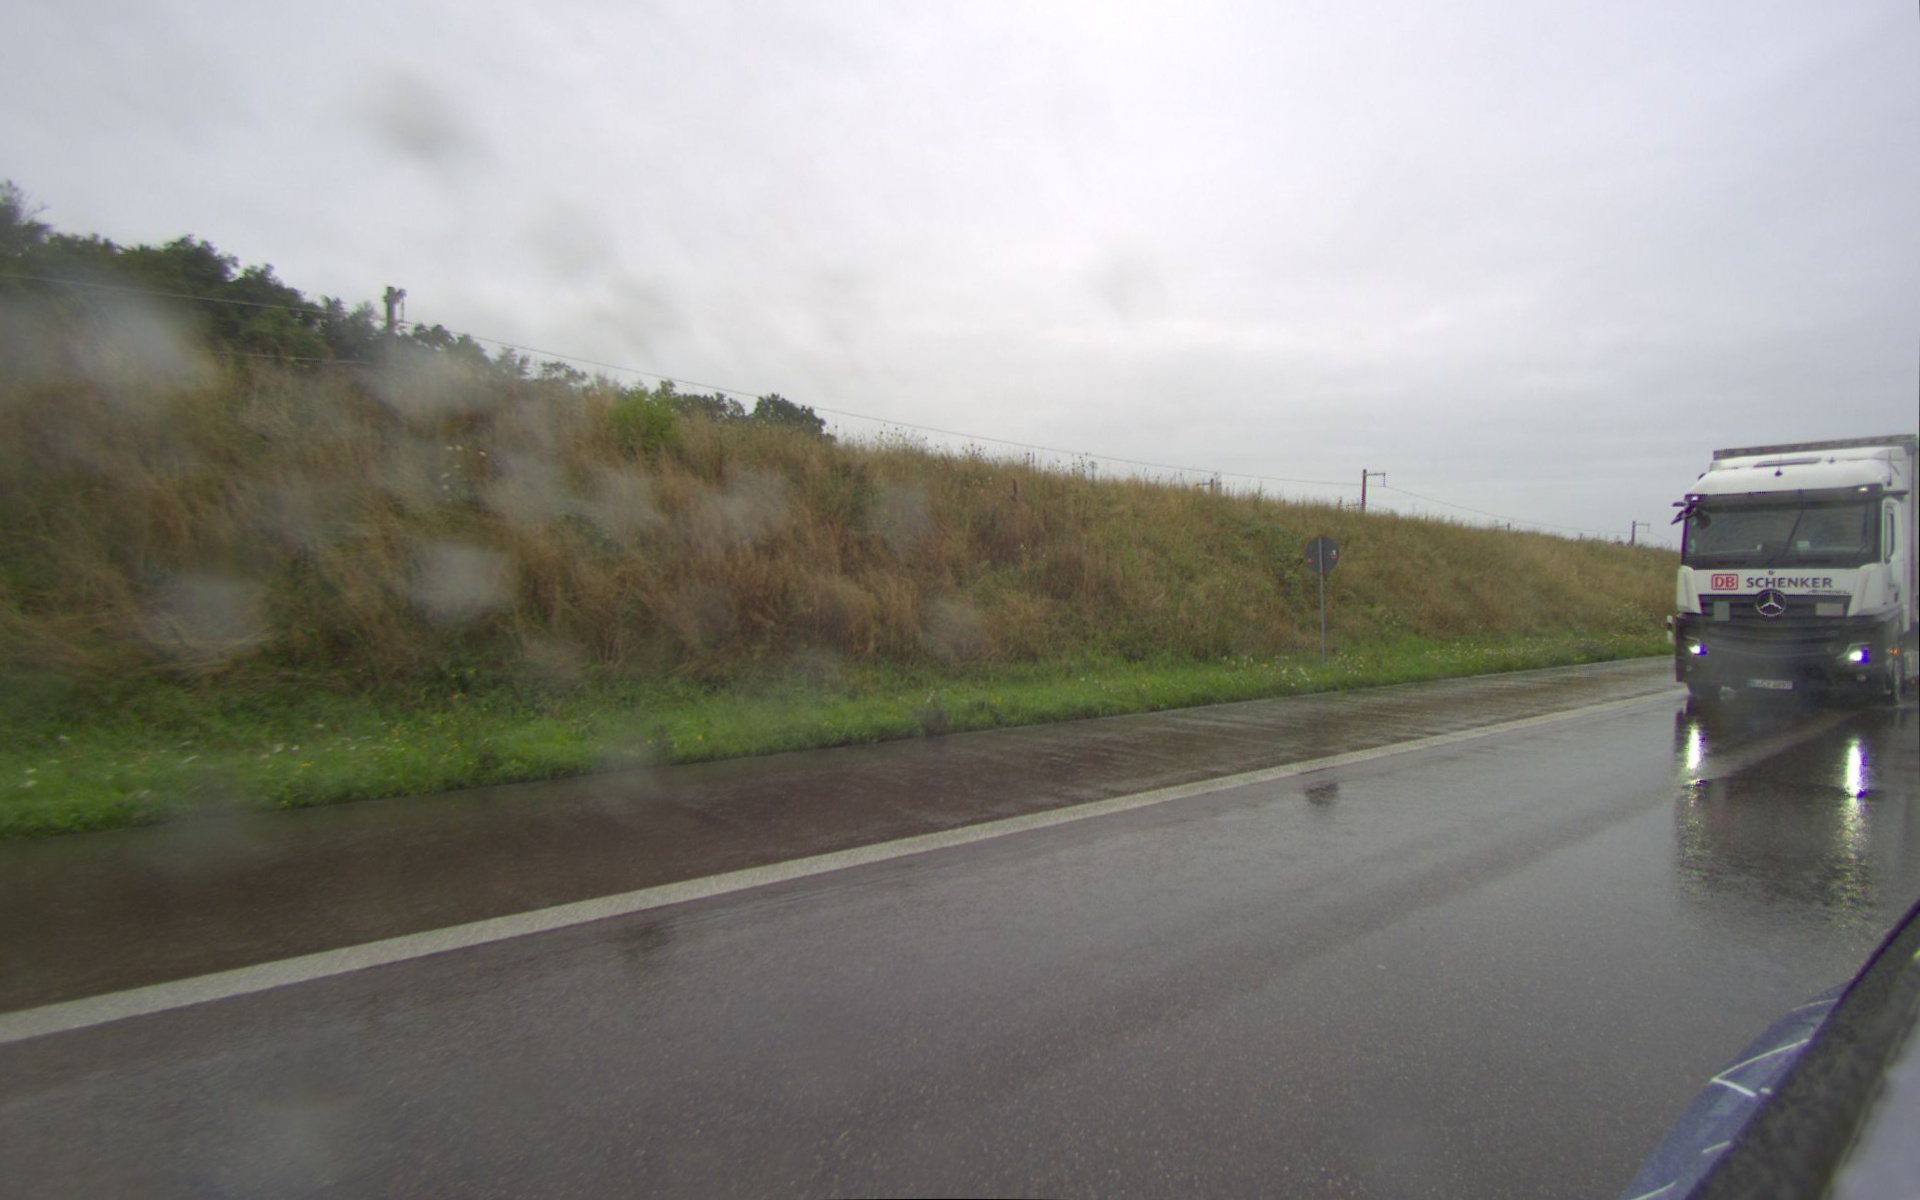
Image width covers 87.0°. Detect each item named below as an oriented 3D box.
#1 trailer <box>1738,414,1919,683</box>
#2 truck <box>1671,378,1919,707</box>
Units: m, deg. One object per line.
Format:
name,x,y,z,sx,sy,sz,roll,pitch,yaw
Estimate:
trailer,19.932,-0.893,21.573,13.930,4.302,2.631,-1,0,-41
truck,13.420,-0.788,15.886,4.956,4.307,2.630,-1,0,-42
